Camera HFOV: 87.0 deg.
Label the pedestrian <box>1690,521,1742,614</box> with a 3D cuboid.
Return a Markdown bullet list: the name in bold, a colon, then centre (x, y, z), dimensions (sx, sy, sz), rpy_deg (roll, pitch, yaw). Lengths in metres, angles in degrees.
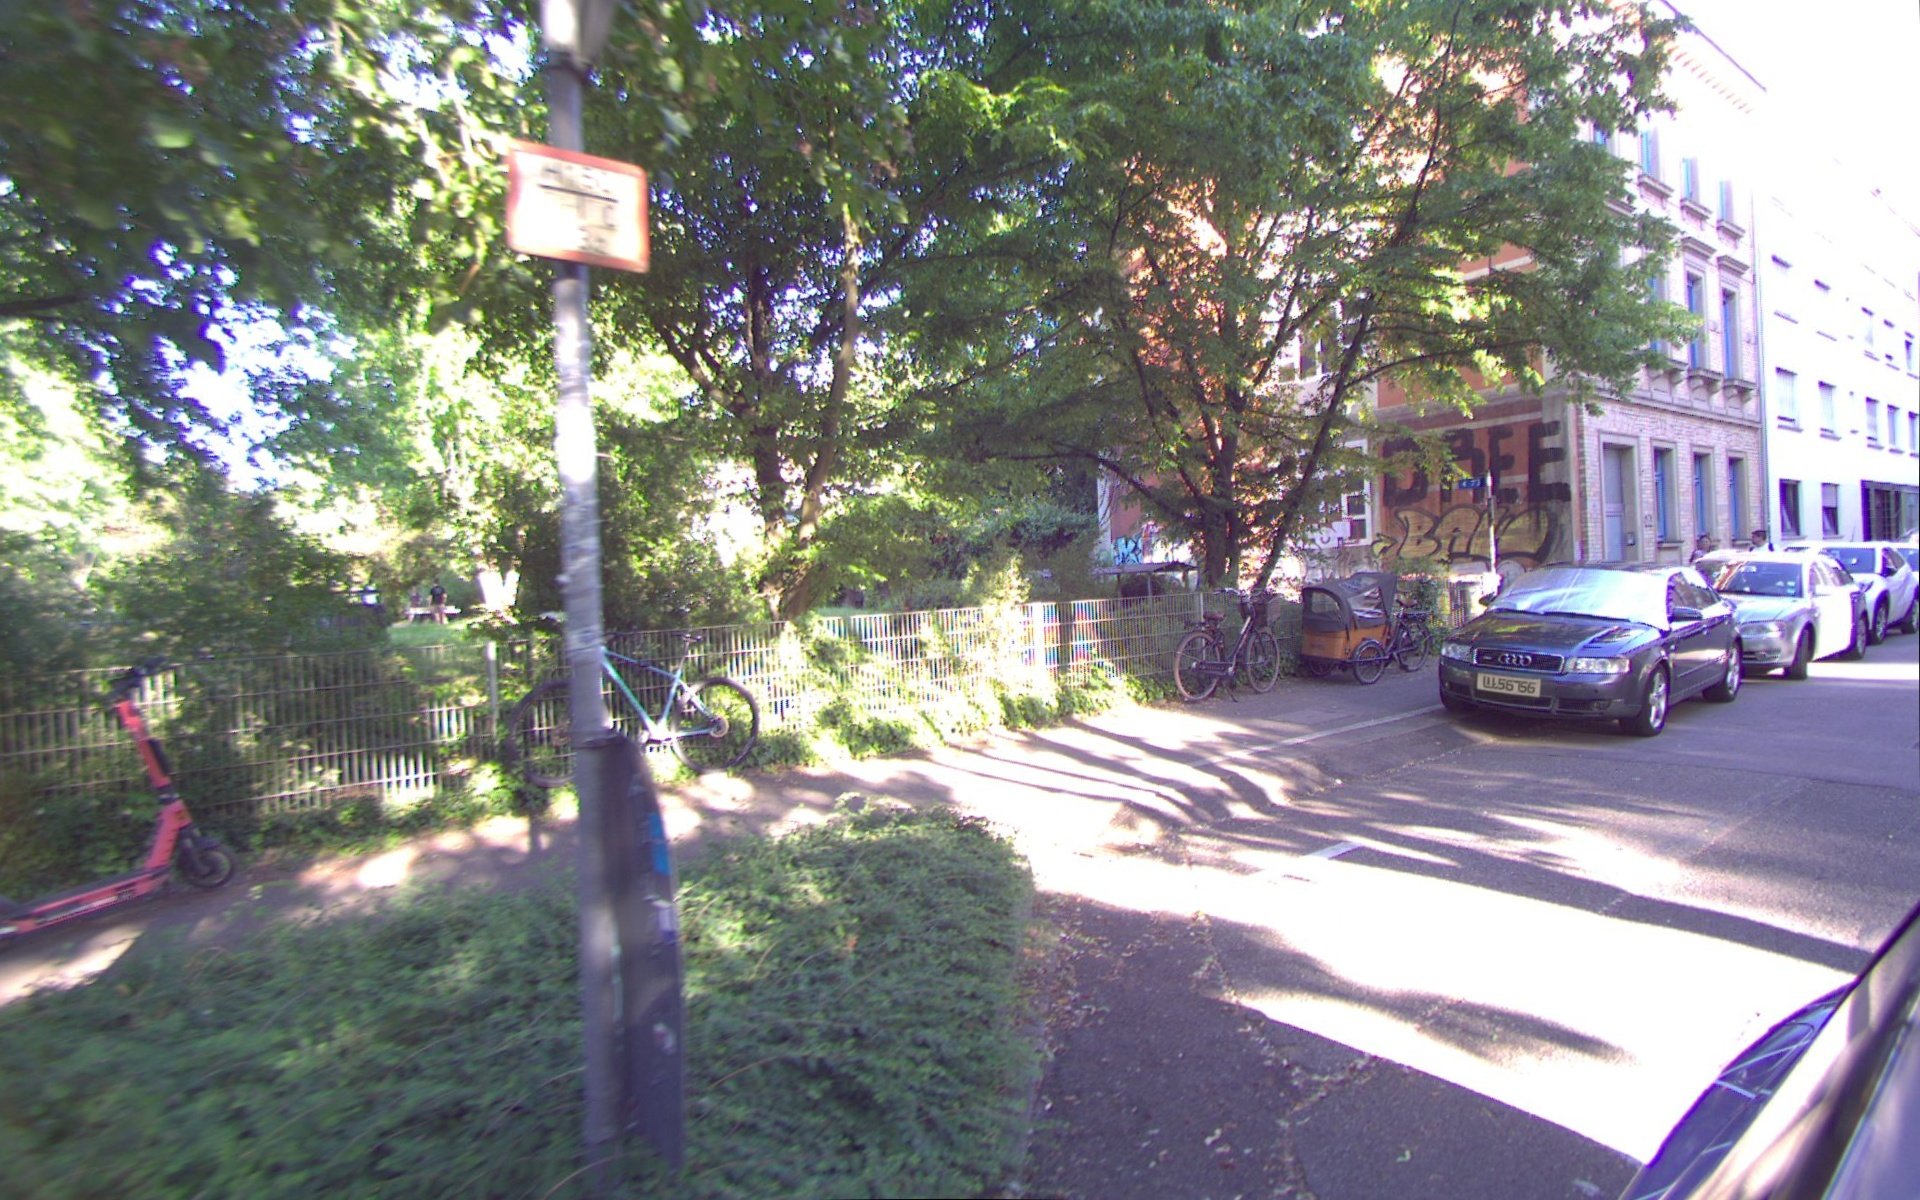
- **pedestrian**: centre (14.407, -0.638, 19.279), dimensions (0.694, 1.729, 0.599), rpy_deg (-3, 4, -38)

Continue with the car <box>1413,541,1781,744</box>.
- **car**: centre (6.374, 0.244, 9.925), dimensions (4.336, 1.512, 1.725), rpy_deg (-4, 3, -39)

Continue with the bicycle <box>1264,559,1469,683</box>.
- **bicycle**: centre (5.008, 0.188, 12.434), dimensions (2.283, 1.317, 1.295), rpy_deg (-3, 3, -35)

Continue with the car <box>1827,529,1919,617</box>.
- **car**: centre (17.554, -0.561, 18.785), dimensions (3.933, 1.468, 1.597), rpy_deg (-4, 3, -40)

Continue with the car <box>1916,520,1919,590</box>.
- **car**: centre (25.158, -1.165, 24.778), dimensions (4.250, 1.686, 1.886), rpy_deg (-4, 4, -38)

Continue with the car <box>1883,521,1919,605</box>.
- **car**: centre (21.326, -0.851, 21.450), dimensions (4.248, 1.687, 1.771), rpy_deg (-3, 2, -36)

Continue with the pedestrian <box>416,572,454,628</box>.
- **pedestrian**: centre (-19.528, -0.002, 37.641), dimensions (0.897, 2.038, 0.747), rpy_deg (-2, 1, 10)

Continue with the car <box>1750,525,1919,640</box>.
- **car**: centre (14.130, -0.342, 16.099), dimensions (3.696, 1.604, 1.597), rpy_deg (-4, 2, -38)

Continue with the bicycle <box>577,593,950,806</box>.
- **bicycle**: centre (-1.416, 0.645, 7.701), dimensions (2.642, 1.283, 0.849), rpy_deg (-3, 1, -36)

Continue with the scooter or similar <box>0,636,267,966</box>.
- **scooter or similar**: centre (-4.120, 0.867, 4.643), dimensions (0.540, 1.277, 1.463), rpy_deg (-1, 2, 21)

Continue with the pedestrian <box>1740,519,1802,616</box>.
- **pedestrian**: centre (14.946, -0.620, 18.648), dimensions (0.739, 1.729, 0.712), rpy_deg (-3, 4, -38)

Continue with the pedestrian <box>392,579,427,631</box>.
- **pedestrian**: centre (-22.363, 0.187, 41.120), dimensions (0.897, 2.038, 0.747), rpy_deg (-2, 1, 10)

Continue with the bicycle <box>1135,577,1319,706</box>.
- **bicycle**: centre (2.902, 0.399, 10.926), dimensions (1.945, 1.215, 0.849), rpy_deg (-3, 1, -36)

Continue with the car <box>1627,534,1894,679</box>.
- **car**: centre (10.277, -0.027, 12.879), dimensions (4.275, 1.512, 1.664), rpy_deg (-4, 3, -37)

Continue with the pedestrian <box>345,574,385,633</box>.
- **pedestrian**: centre (-21.238, 0.118, 36.128), dimensions (0.897, 2.038, 0.747), rpy_deg (-2, 1, 10)
